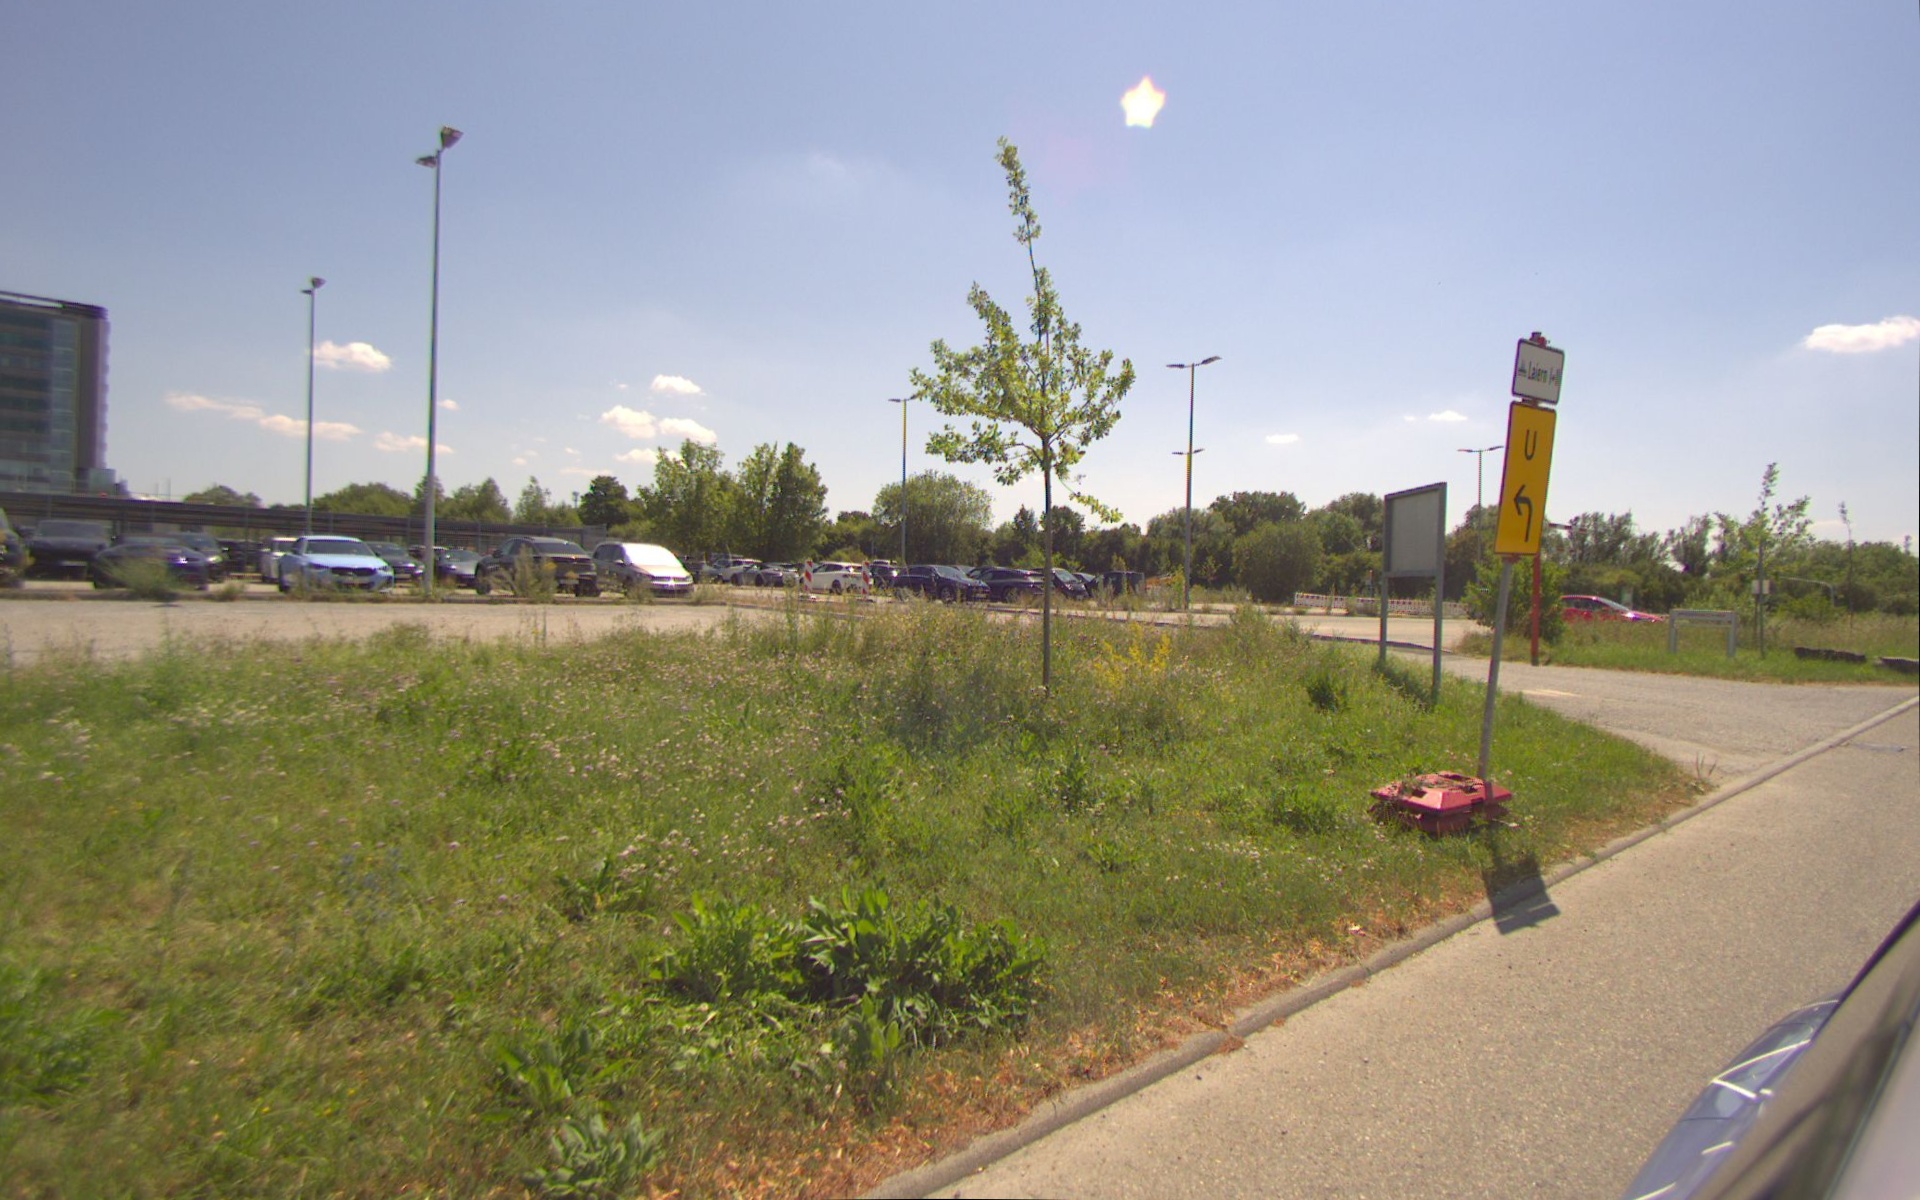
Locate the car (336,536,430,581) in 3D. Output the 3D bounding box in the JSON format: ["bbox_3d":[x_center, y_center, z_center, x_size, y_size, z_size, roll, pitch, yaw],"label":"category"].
[{"bbox_3d":[-19.335,-1.405,33.858,1.703,1.207,3.991,5,0,-44],"label":"car"}]

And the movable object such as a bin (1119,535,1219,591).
[{"bbox_3d":[17.925,-3.160,86.779,7.991,4.095,2.974,5,0,15],"label":"movable object such as a bin"}]

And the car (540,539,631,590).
[{"bbox_3d":[-14.289,-1.373,38.520,1.739,1.616,3.992,5,0,-44],"label":"car"}]

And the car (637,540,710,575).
[{"bbox_3d":[-16.396,-2.441,57.847,3.980,1.660,1.972,5,0,38],"label":"car"}]

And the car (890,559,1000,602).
[{"bbox_3d":[-0.600,-0.739,37.013,1.893,1.412,3.996,1,2,-40],"label":"car"}]

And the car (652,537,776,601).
[{"bbox_3d":[-7.346,-0.951,30.002,1.739,1.616,3.992,5,0,-44],"label":"car"}]

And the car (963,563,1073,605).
[{"bbox_3d":[2.131,-0.632,38.095,1.893,1.412,3.996,1,2,-40],"label":"car"}]

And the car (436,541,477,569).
[{"bbox_3d":[-41.623,-3.722,83.634,1.965,2.038,3.994,5,0,-42],"label":"car"}]

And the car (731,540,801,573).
[{"bbox_3d":[-11.886,-2.649,61.902,3.980,1.660,1.972,5,0,38],"label":"car"}]

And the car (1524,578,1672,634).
[{"bbox_3d":[22.542,0.188,35.857,1.893,1.745,3.996,1,2,-40],"label":"car"}]

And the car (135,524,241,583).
[{"bbox_3d":[-23.334,-1.424,30.537,1.967,1.504,3.991,5,0,-44],"label":"car"}]

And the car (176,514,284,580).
[{"bbox_3d":[-21.945,-1.612,30.361,1.967,1.704,3.991,5,0,-44],"label":"car"}]

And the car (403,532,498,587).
[{"bbox_3d":[-17.570,-1.407,34.811,1.739,1.616,3.992,5,0,-44],"label":"car"}]

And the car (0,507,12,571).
[{"bbox_3d":[-26.198,-1.714,26.606,1.739,1.616,3.992,5,0,-44],"label":"car"}]

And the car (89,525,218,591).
[{"bbox_3d":[-17.179,-0.926,21.486,1.739,1.123,3.992,5,0,-44],"label":"car"}]

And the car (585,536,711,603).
[{"bbox_3d":[-8.958,-0.906,28.889,1.739,1.616,3.992,5,0,-44],"label":"car"}]

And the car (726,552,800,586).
[{"bbox_3d":[-9.840,-1.574,50.351,1.669,1.537,3.990,0,2,-45],"label":"car"}]

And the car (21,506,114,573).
[{"bbox_3d":[-25.211,-1.719,28.539,1.739,1.616,3.992,5,0,-44],"label":"car"}]

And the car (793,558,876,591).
[{"bbox_3d":[-5.761,-1.188,46.185,1.669,1.357,3.990,0,2,-45],"label":"car"}]

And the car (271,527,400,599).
[{"bbox_3d":[-14.858,-0.914,23.977,1.739,1.410,3.992,5,0,-44],"label":"car"}]

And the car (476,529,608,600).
[{"bbox_3d":[-11.374,-1.004,27.363,1.739,1.616,4.372,5,0,-44],"label":"car"}]

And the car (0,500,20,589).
[{"bbox_3d":[-19.423,-1.192,19.477,1.830,1.616,3.992,5,0,-44],"label":"car"}]

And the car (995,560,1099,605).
[{"bbox_3d":[3.481,-0.748,41.138,1.893,1.661,3.996,1,2,-40],"label":"car"}]

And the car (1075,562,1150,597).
[{"bbox_3d":[8.775,-1.190,58.336,1.728,1.779,3.993,3,2,-43],"label":"car"}]
